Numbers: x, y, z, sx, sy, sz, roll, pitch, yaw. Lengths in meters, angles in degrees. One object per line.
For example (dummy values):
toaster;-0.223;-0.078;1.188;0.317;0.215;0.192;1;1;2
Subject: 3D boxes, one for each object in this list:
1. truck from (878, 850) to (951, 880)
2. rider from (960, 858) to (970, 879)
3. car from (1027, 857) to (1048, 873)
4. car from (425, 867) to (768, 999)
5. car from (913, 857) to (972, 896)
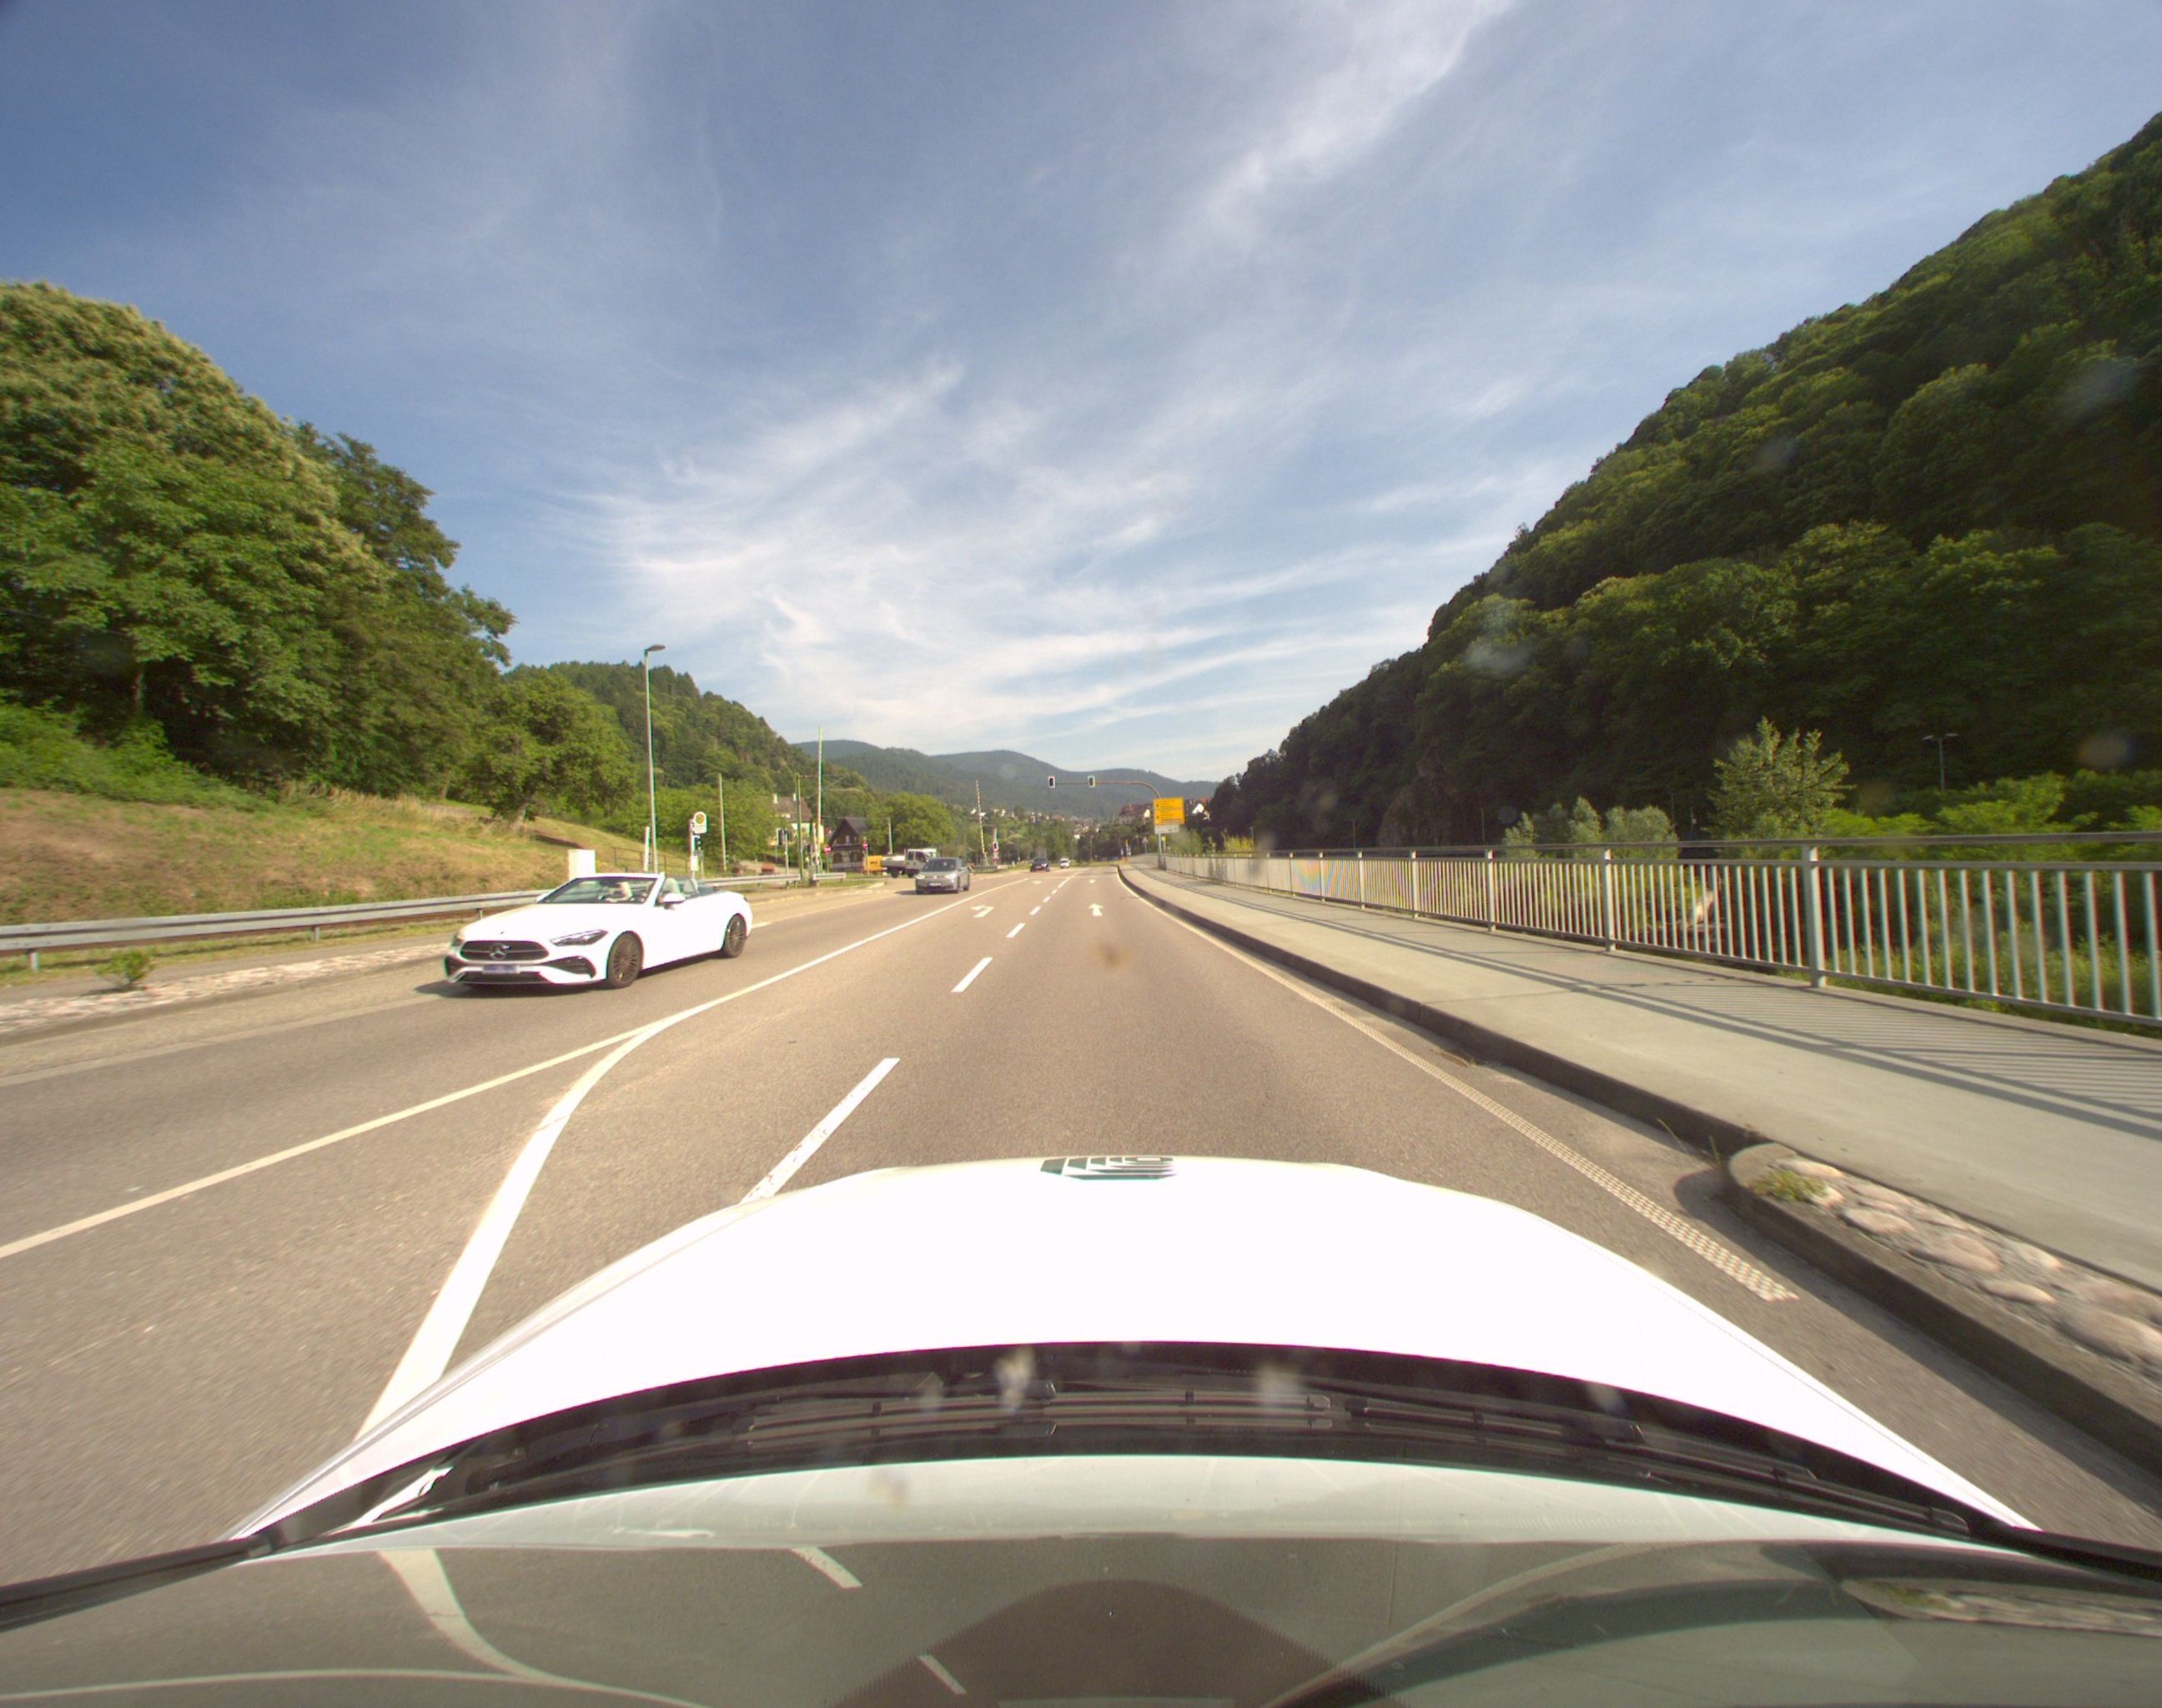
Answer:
truck;-13.089;0.878;63.834;5.925;2.266;2.013;-1;0;36
rider;-9.889;1.222;69.347;0.753;1.819;0.739;-1;0;-15
car;-4.237;1.067;79.319;1.767;1.416;3.785;-2;0;0
car;-6.297;0.911;11.429;1.775;1.400;4.829;-1;0;2
car;-6.020;0.944;35.811;1.752;1.521;4.205;-2;0;1
